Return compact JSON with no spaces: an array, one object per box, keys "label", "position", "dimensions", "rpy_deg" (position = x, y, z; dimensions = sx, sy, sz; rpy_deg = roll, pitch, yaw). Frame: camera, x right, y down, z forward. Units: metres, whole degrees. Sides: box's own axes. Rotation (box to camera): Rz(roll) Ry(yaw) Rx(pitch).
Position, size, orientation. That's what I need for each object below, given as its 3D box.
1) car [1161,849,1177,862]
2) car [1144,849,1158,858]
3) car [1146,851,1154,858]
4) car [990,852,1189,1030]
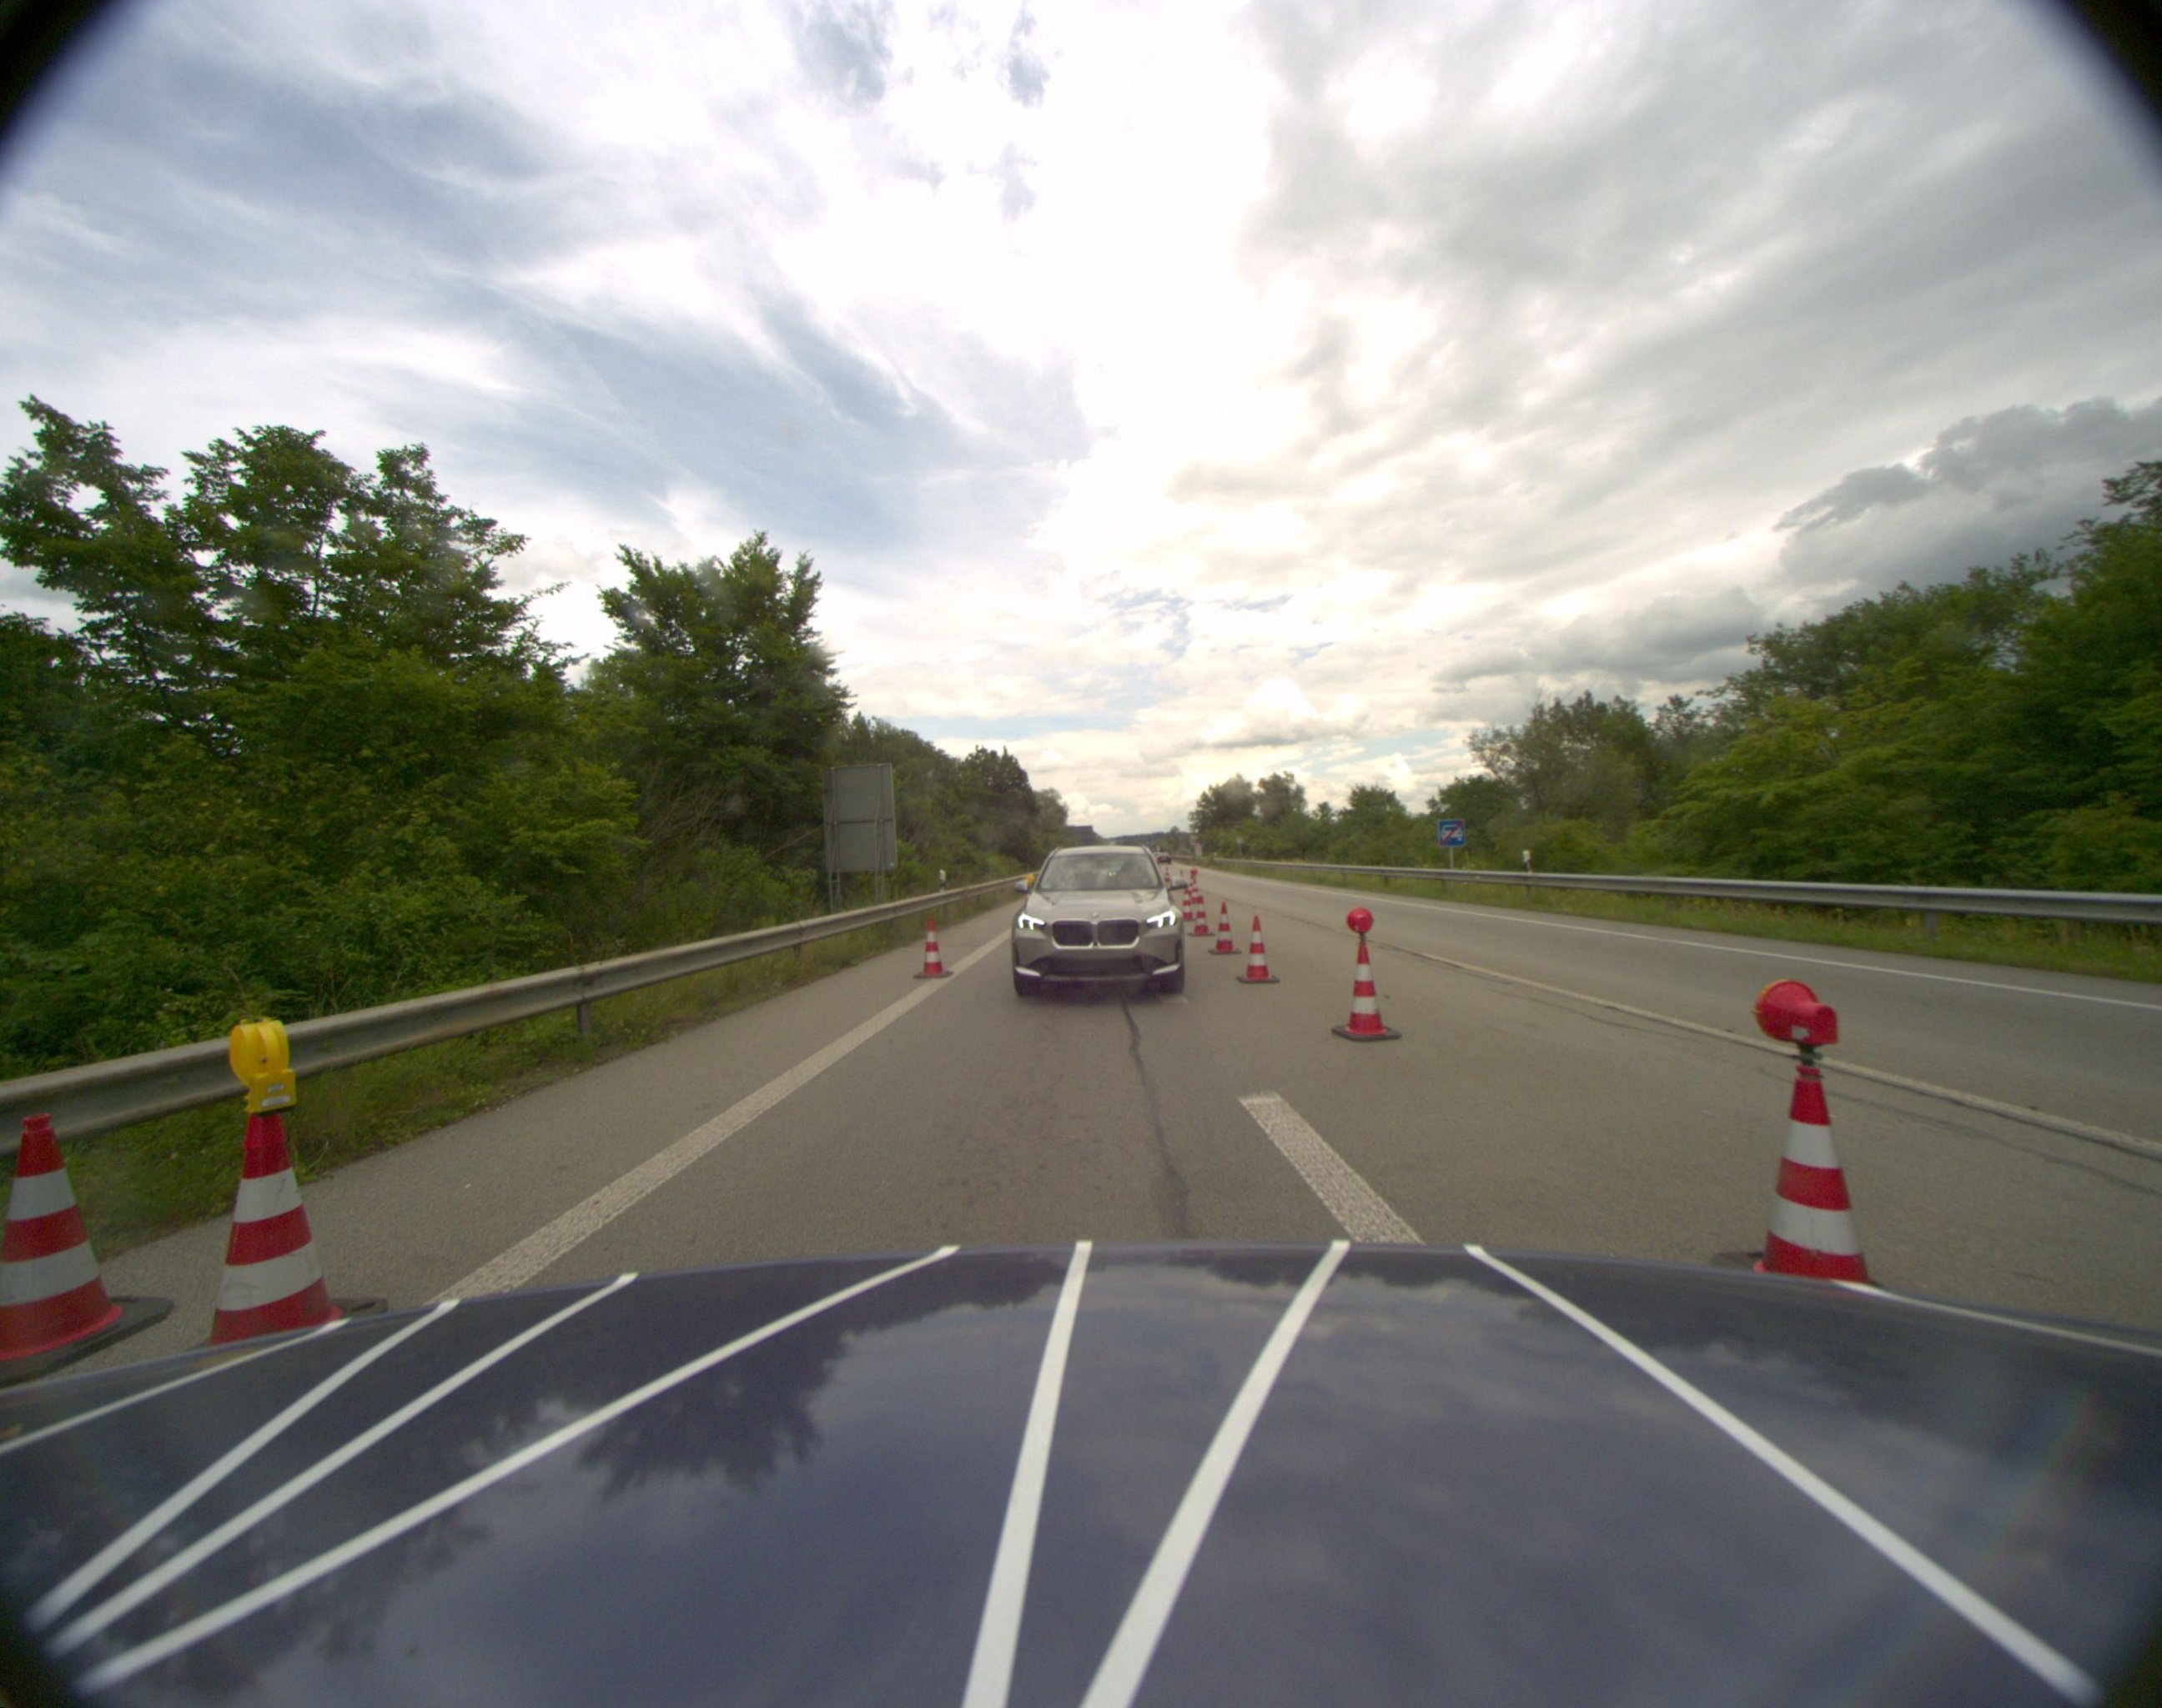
[{"label":"car","position":[10.875,0.165,94.352],"dimensions":[1.712,1.428,4.337],"rpy_deg":[-2,0,4]},{"label":"car","position":[11.162,-0.088,121.141],"dimensions":[1.683,1.393,4.374],"rpy_deg":[-2,0,-1]},{"label":"car","position":[18.890,0.098,208.512],"dimensions":[2.034,1.976,5.316],"rpy_deg":[-2,0,3]},{"label":"car","position":[0.214,0.817,9.323],"dimensions":[1.817,1.598,4.434],"rpy_deg":[-2,0,4]}]
